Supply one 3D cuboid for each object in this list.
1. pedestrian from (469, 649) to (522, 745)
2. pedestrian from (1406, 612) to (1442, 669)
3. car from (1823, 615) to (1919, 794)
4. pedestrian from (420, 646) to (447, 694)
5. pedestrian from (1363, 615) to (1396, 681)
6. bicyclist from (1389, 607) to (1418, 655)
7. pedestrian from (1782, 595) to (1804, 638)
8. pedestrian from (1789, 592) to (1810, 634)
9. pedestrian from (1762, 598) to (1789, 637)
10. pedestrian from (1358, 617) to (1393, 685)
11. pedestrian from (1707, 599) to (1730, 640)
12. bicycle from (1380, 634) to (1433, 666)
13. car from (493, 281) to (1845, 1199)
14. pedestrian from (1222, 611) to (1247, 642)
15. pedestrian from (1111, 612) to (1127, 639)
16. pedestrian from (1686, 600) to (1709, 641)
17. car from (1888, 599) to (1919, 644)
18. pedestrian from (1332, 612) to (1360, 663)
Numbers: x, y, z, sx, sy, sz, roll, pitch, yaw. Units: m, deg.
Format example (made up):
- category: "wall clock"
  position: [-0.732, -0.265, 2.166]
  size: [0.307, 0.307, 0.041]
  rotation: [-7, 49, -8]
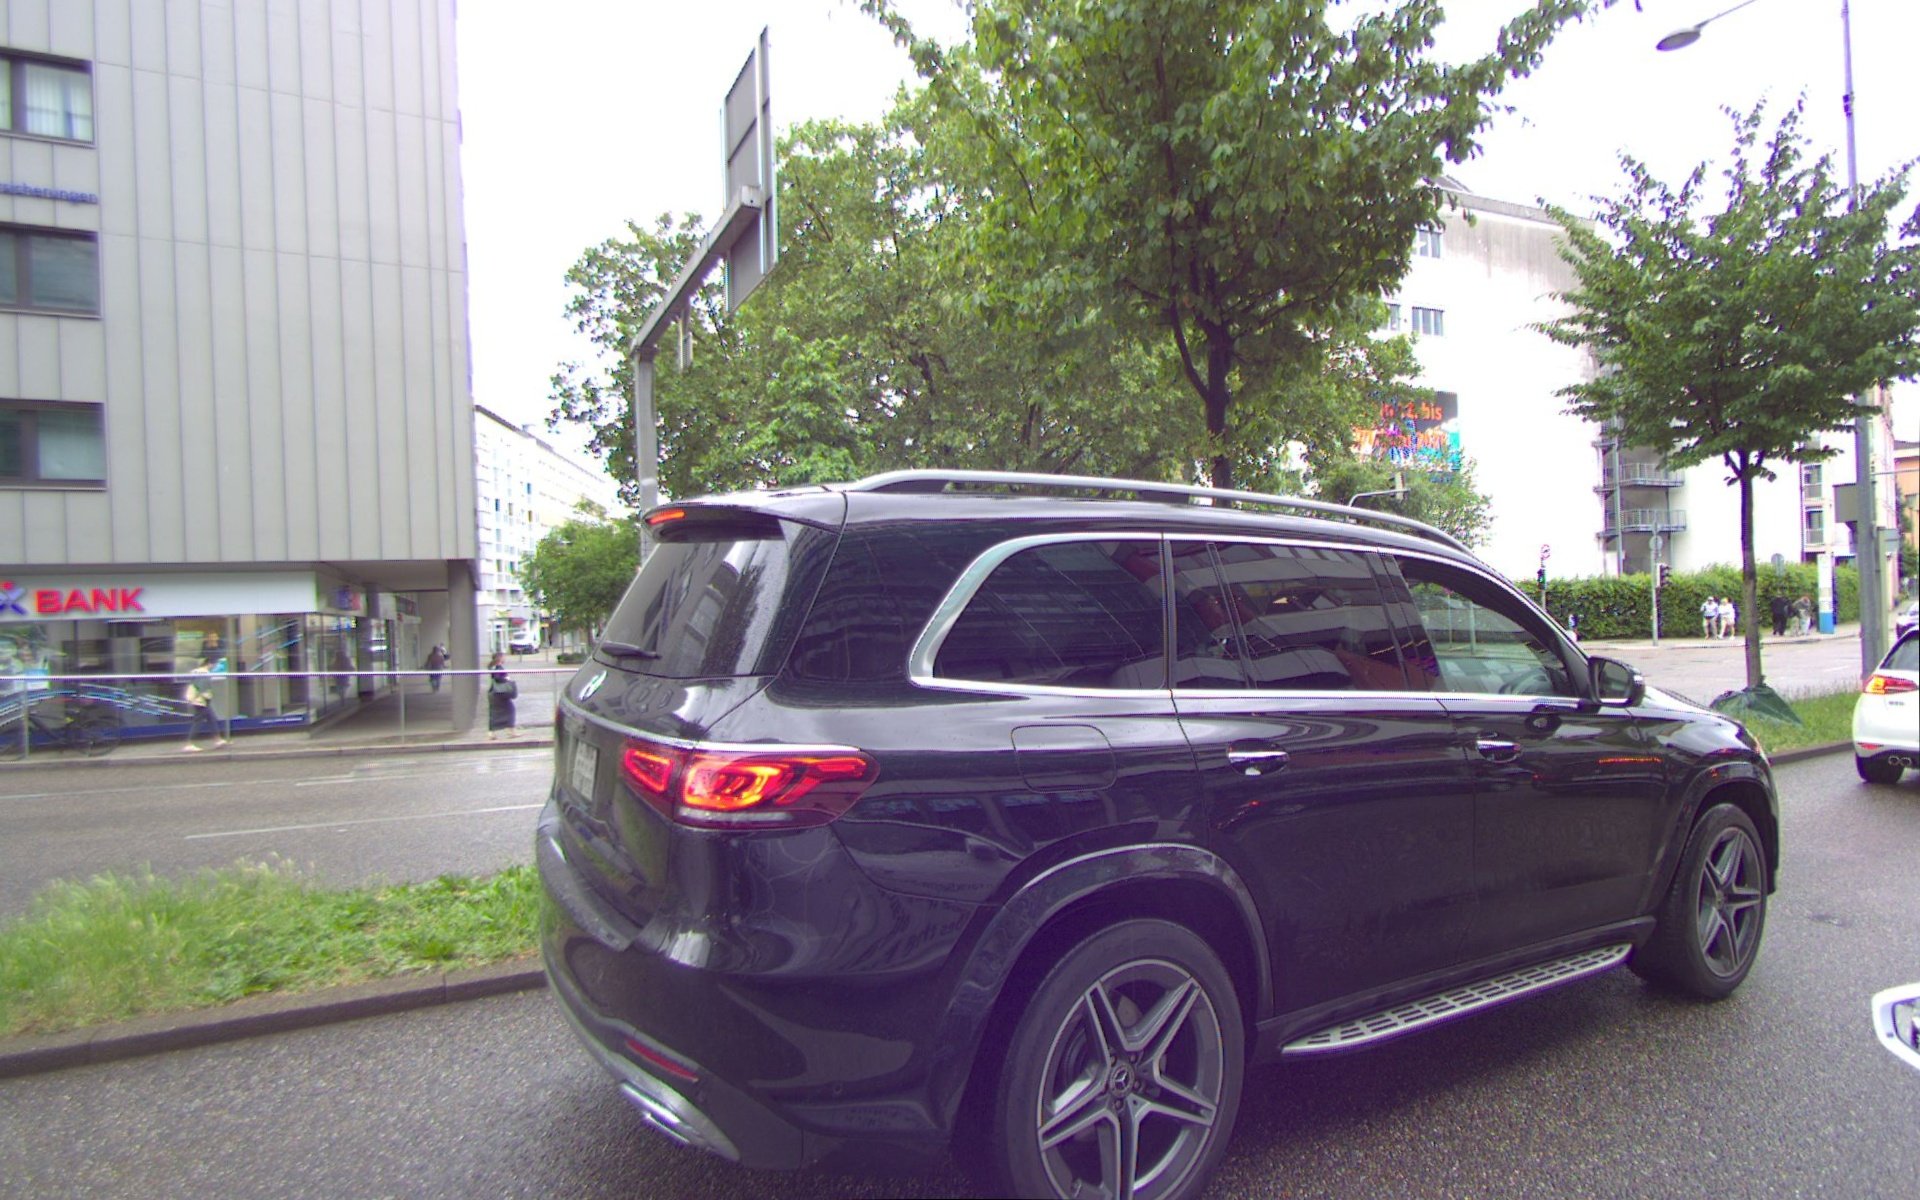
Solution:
- category: "pedestrian"
  position: [-8.359, 1.744, 18.117]
  size: [0.779, 1.659, 0.632]
  rotation: [2, -1, -22]
- category: "pedestrian"
  position: [13.924, 1.210, 30.152]
  size: [0.620, 1.684, 0.749]
  rotation: [-2, 0, -30]
- category: "car"
  position: [9.548, 0.870, 8.960]
  size: [3.799, 1.448, 1.768]
  rotation: [0, 0, -32]
- category: "pedestrian"
  position: [-19.380, 2.571, 36.976]
  size: [0.719, 1.719, 0.782]
  rotation: [2, -3, -37]
- category: "pedestrian"
  position: [11.012, 1.249, 26.379]
  size: [0.572, 1.684, 0.554]
  rotation: [-2, 0, -30]
- category: "bicyclist"
  position: [14.548, 1.019, 32.975]
  size: [0.602, 1.550, 0.629]
  rotation: [2, -3, -30]
- category: "pedestrian"
  position: [34.831, 0.695, 41.992]
  size: [0.741, 1.771, 0.535]
  rotation: [2, -1, -38]
- category: "pedestrian"
  position: [36.120, 0.551, 43.198]
  size: [0.559, 1.771, 0.535]
  rotation: [2, -1, -35]
- category: "pedestrian"
  position: [34.807, 0.744, 42.892]
  size: [0.724, 1.664, 0.635]
  rotation: [2, -1, -27]
- category: "pedestrian"
  position: [10.428, 1.268, 25.220]
  size: [0.572, 1.684, 0.554]
  rotation: [-2, 0, -30]
- category: "pedestrian"
  position: [30.877, 0.787, 40.882]
  size: [0.522, 1.620, 0.576]
  rotation: [2, -1, -36]
- category: "bicycle"
  position: [14.693, 1.645, 33.045]
  size: [1.918, 1.013, 0.612]
  rotation: [2, -3, -31]
- category: "car"
  position: [1.124, 0.512, 3.780]
  size: [5.016, 1.895, 1.901]
  rotation: [3, -1, -31]
- category: "pedestrian"
  position: [14.653, 1.415, 53.666]
  size: [0.677, 1.599, 1.055]
  rotation: [2, -1, -34]
- category: "pedestrian"
  position: [9.947, 1.603, 62.910]
  size: [0.723, 1.664, 0.635]
  rotation: [2, -1, -23]
- category: "pedestrian"
  position: [30.247, 0.839, 41.195]
  size: [0.522, 1.620, 0.576]
  rotation: [2, -1, -36]
- category: "car"
  position: [33.762, 0.732, 34.801]
  size: [3.571, 1.506, 1.565]
  rotation: [0, 1, -33]
- category: "pedestrian"
  position: [12.935, 1.252, 33.685]
  size: [0.572, 1.689, 0.636]
  rotation: [-2, 0, -30]
